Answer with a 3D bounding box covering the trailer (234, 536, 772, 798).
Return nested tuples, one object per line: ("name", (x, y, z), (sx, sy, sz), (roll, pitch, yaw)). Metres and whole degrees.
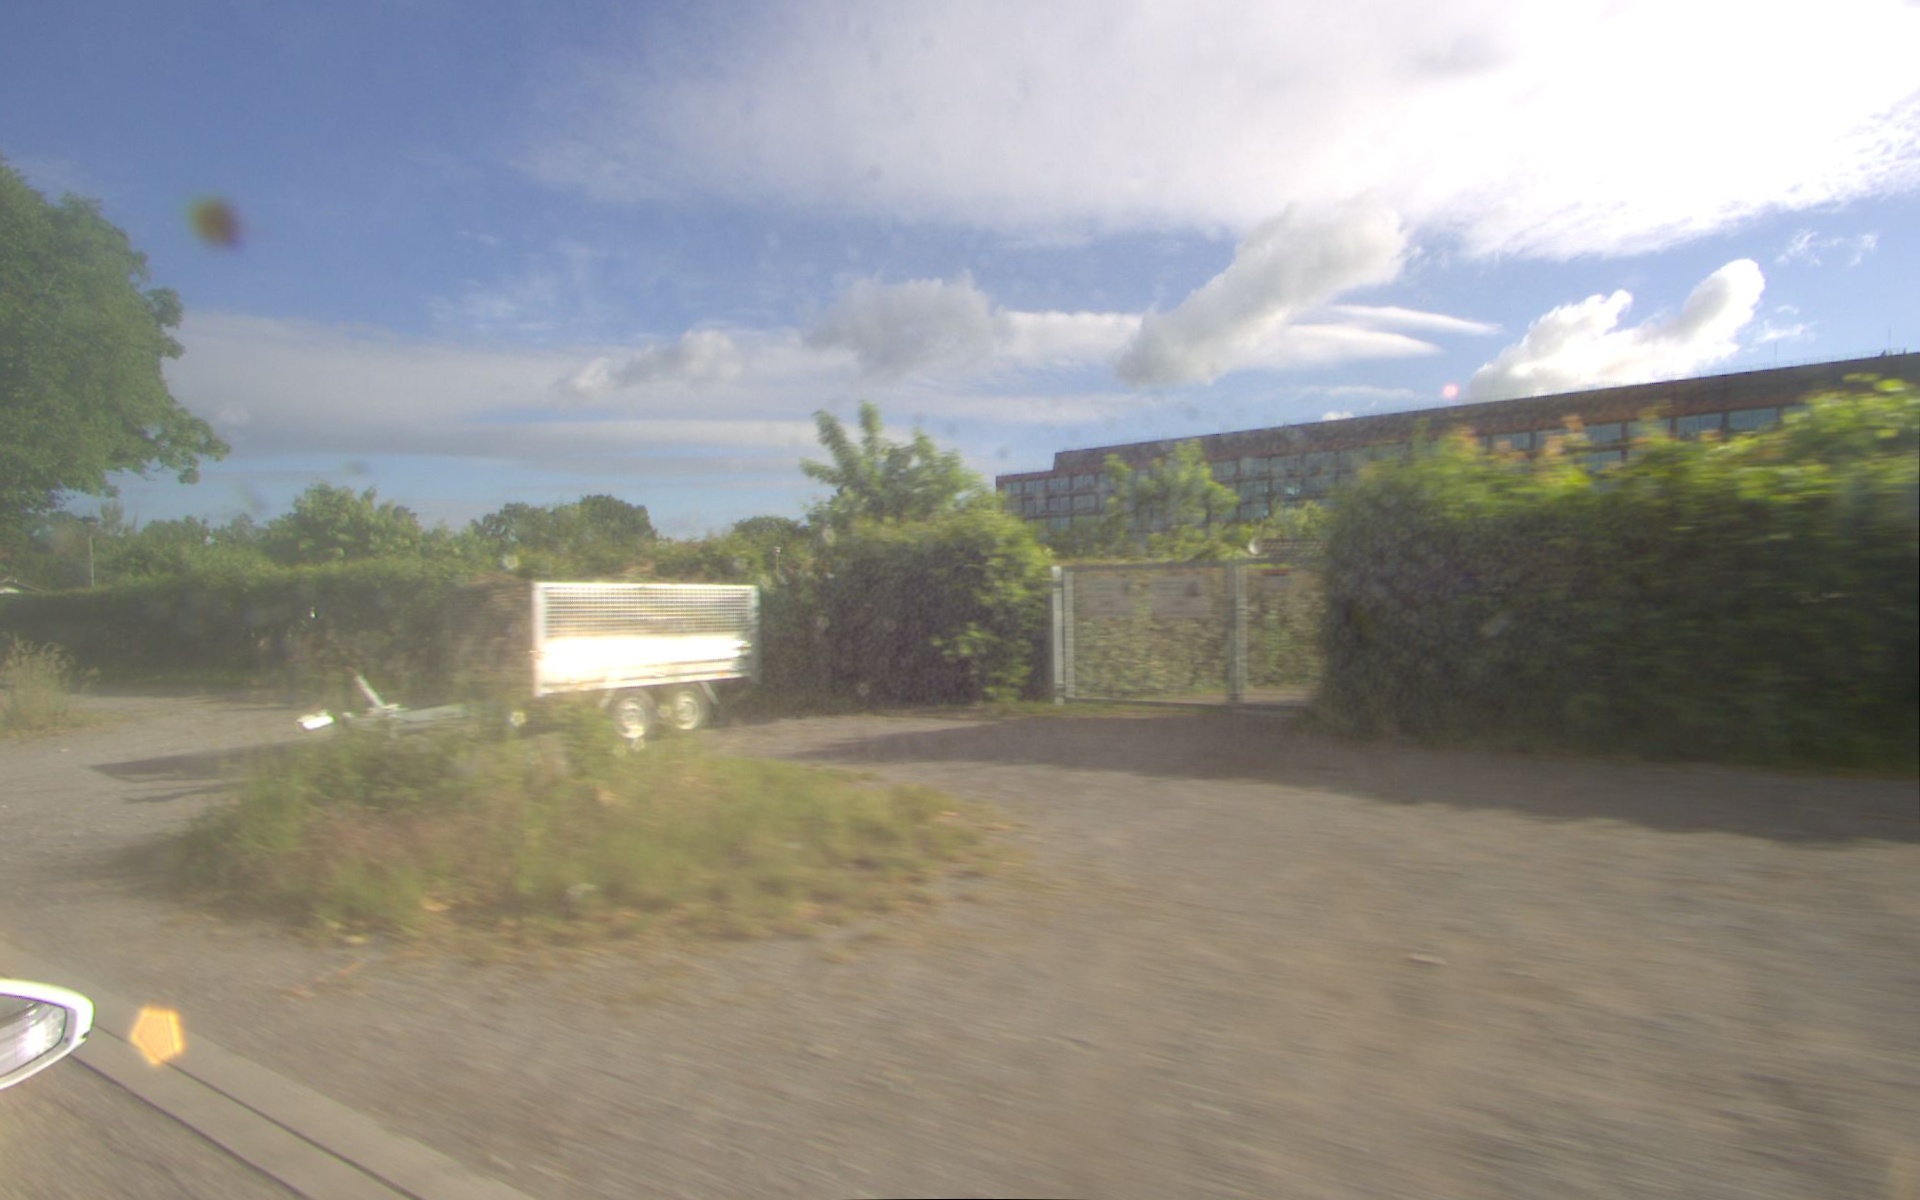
("trailer", (-3.945, 0.422, 9.327), (1.891, 1.860, 4.137), (0, 2, 36))
